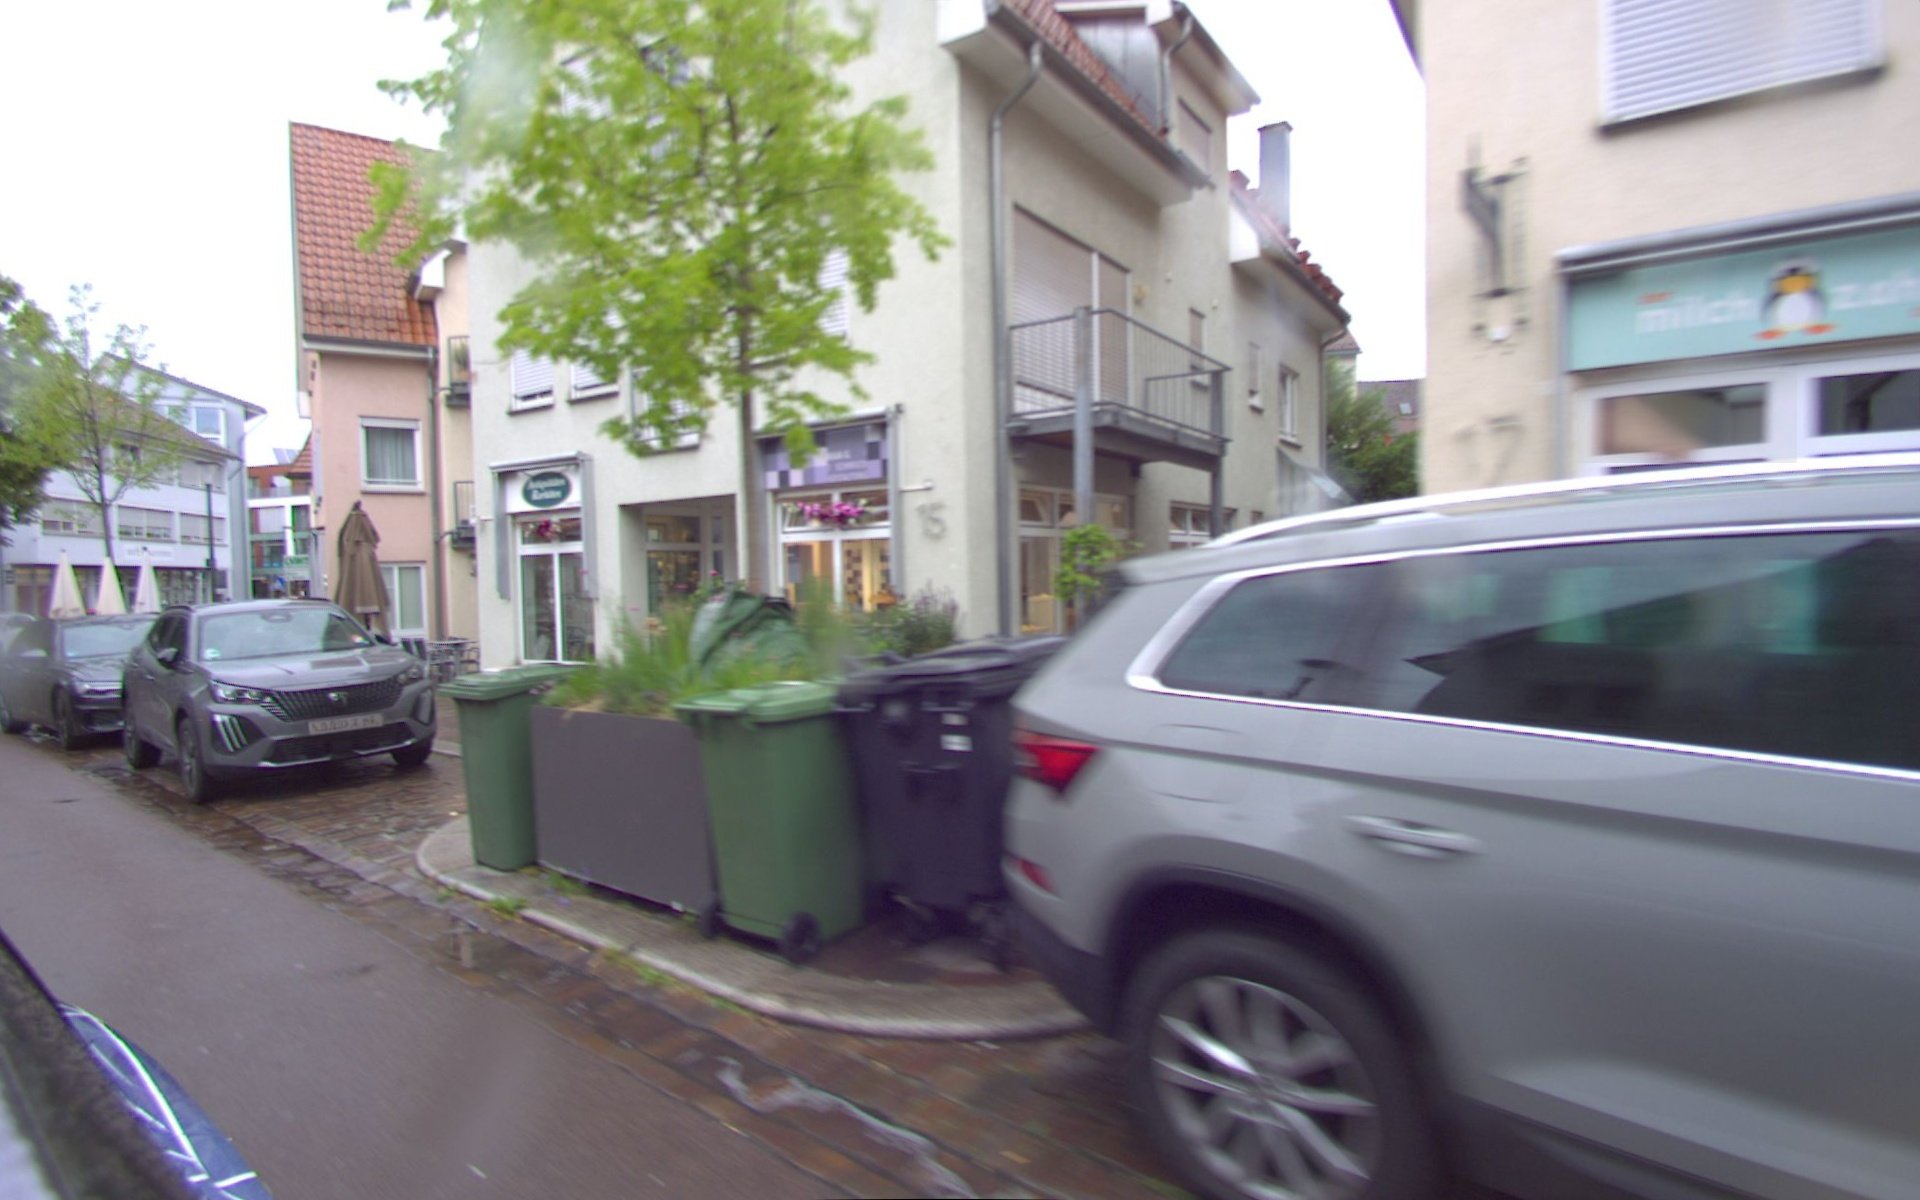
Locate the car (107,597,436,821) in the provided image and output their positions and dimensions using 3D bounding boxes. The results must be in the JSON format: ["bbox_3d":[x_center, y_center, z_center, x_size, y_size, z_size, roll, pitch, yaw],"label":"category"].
[{"bbox_3d":[-6.351,0.774,9.161,3.976,1.557,1.576,0,1,42],"label":"car"}]

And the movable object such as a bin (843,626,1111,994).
[{"bbox_3d":[0.069,0.731,3.980,0.749,1.210,0.736,0,1,43],"label":"movable object such as a bin"}]

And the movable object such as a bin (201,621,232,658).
[{"bbox_3d":[-23.404,1.249,31.864,0.650,1.117,0.626,-1,1,-22],"label":"movable object such as a bin"}]

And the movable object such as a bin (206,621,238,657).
[{"bbox_3d":[-23.775,1.248,32.612,0.682,1.095,0.548,-3,2,-22],"label":"movable object such as a bin"}]

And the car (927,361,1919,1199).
[{"bbox_3d":[2.162,0.467,1.909,4.479,1.687,1.753,0,3,43],"label":"car"}]

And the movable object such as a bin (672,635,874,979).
[{"bbox_3d":[-0.748,0.768,4.073,0.523,1.210,0.595,0,1,44],"label":"movable object such as a bin"}]

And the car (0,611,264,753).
[{"bbox_3d":[-10.720,0.940,12.771,4.619,1.443,1.785,-2,0,37],"label":"car"}]

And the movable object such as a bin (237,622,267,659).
[{"bbox_3d":[-22.532,1.287,32.224,0.650,1.117,0.626,-1,1,-22],"label":"movable object such as a bin"}]

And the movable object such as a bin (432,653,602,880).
[{"bbox_3d":[-2.453,0.869,5.603,0.725,1.087,0.614,0,1,43],"label":"movable object such as a bin"}]

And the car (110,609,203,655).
[{"bbox_3d":[-33.875,1.298,42.794,1.666,1.702,4.292,-1,1,-18],"label":"car"}]

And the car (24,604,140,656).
[{"bbox_3d":[-32.389,1.069,37.480,1.667,1.702,3.969,-1,1,-15],"label":"car"}]

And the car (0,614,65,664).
[{"bbox_3d":[-30.880,1.240,32.332,1.667,1.551,4.416,-1,-1,-15],"label":"car"}]

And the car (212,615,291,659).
[{"bbox_3d":[-25.300,1.280,36.270,1.666,1.433,3.829,-1,0,-25],"label":"car"}]

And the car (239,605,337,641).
[{"bbox_3d":[-31.318,1.039,47.317,1.971,1.464,4.001,-1,1,-1],"label":"car"}]
